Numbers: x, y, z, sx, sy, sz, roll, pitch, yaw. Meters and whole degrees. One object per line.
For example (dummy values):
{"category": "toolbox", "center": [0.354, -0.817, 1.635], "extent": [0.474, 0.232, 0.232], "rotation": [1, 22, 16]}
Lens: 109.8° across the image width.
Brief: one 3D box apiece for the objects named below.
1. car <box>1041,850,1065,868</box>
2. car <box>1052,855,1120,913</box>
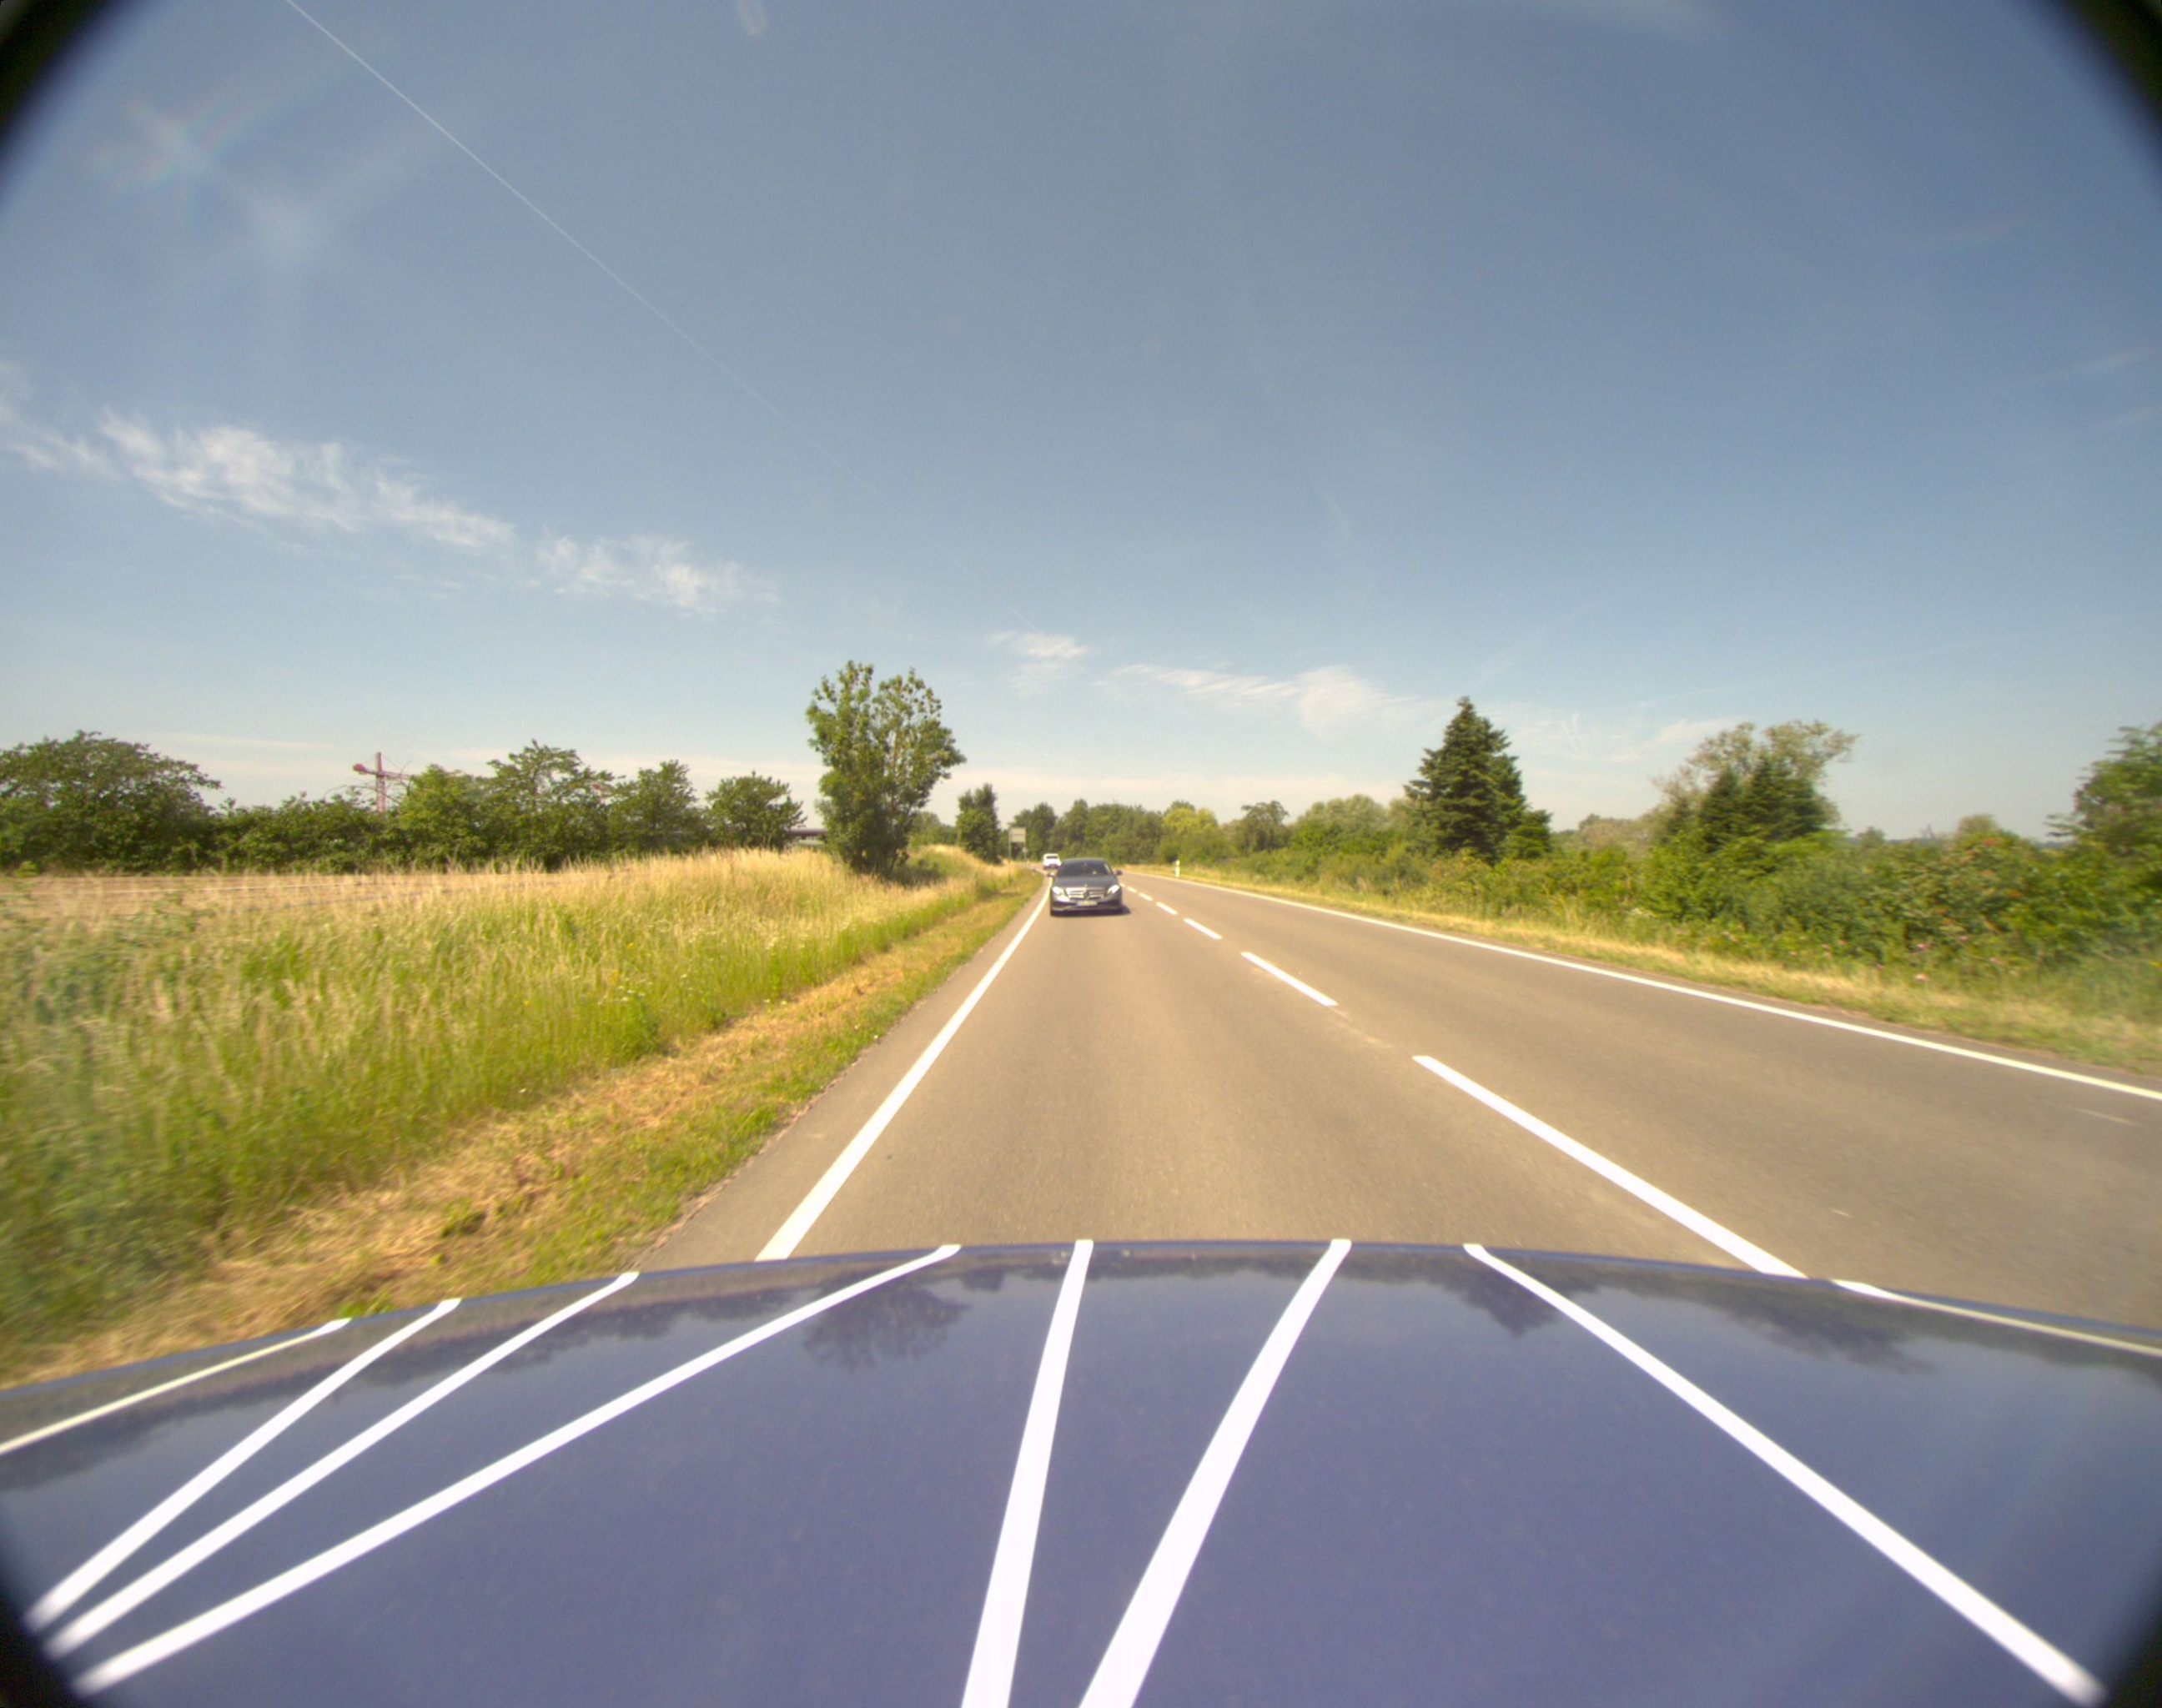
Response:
{"category": "car", "center": [-3.498, 0.594, 93.128], "extent": [2.181, 2.002, 5.020], "rotation": [-3, 0, -10]}
{"category": "car", "center": [0.209, 0.823, 23.026], "extent": [1.831, 1.540, 4.499], "rotation": [-1, 0, 2]}
